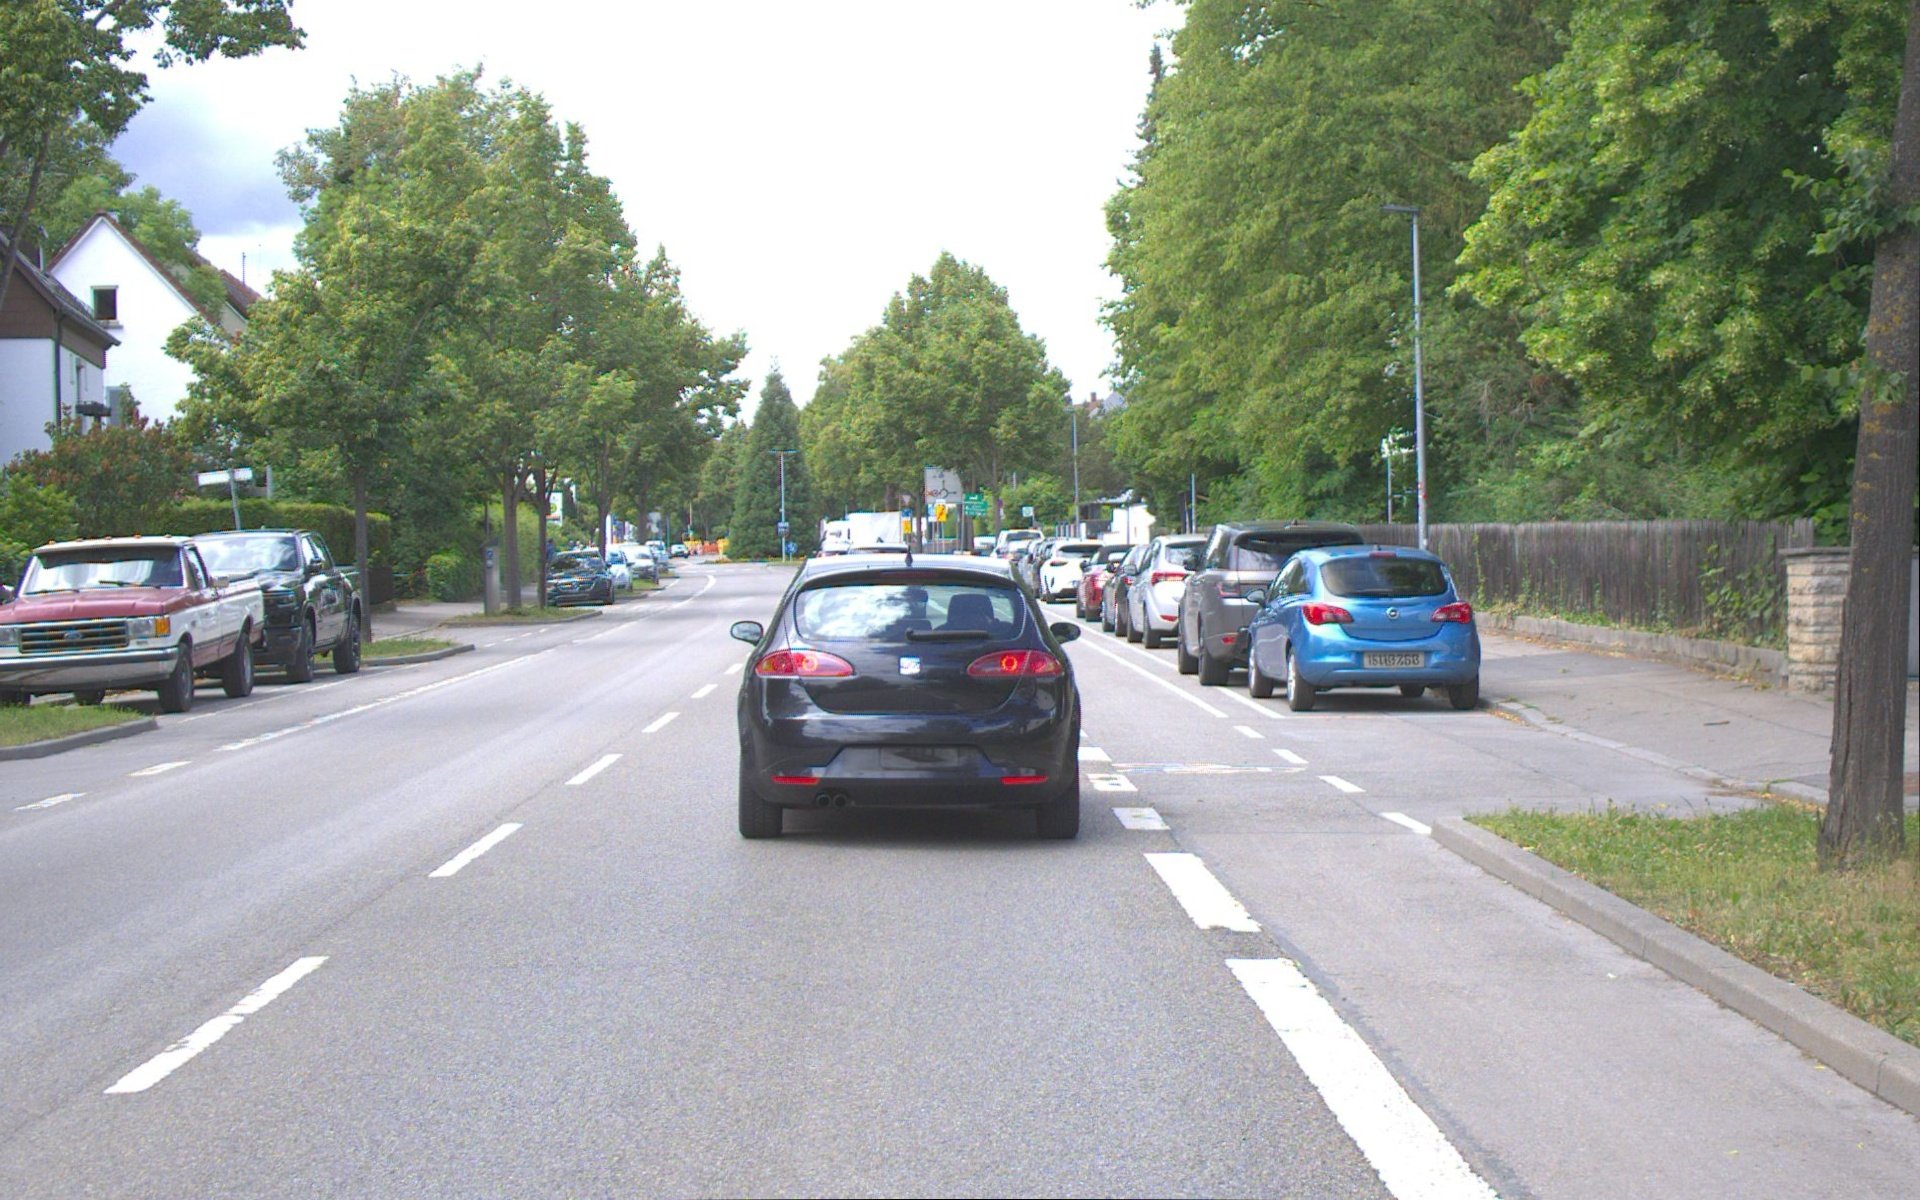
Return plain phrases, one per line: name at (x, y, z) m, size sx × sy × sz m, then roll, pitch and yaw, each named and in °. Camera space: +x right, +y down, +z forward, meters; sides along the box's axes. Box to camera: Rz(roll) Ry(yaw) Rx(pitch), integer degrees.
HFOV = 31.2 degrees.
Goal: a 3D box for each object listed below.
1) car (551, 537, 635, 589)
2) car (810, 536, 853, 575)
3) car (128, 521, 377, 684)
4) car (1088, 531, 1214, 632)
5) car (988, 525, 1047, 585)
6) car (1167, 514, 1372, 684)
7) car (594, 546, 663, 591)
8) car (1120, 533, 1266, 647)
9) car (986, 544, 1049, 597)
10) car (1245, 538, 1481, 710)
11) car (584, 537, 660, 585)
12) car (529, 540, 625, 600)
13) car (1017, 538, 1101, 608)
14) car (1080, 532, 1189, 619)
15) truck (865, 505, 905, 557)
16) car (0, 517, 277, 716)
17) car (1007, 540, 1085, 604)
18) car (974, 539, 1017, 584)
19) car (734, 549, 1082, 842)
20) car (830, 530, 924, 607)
car at (-11.388, -1.168, 106.978) m, size 2.100 × 1.501 × 5.784 m, roll -3°, pitch 1°, yaw -2°
car at (-5.674, -1.975, 152.134) m, size 1.881 × 1.683 × 4.214 m, roll -1°, pitch 1°, yaw -2°
car at (-9.053, -0.018, 44.523) m, size 2.100 × 1.890 × 5.784 m, roll -3°, pitch 1°, yaw -2°
car at (3.071, -0.329, 56.076) m, size 1.688 × 1.559 × 4.214 m, roll -1°, pitch 1°, yaw -2°
car at (1.855, -1.460, 111.458) m, size 1.688 × 1.869 × 4.214 m, roll -1°, pitch 1°, yaw -2°
car at (3.264, -0.047, 36.954) m, size 1.688 × 1.705 × 4.214 m, roll -1°, pitch 1°, yaw -2°
car at (-12.204, -1.173, 126.785) m, size 2.100 × 1.501 × 5.784 m, roll -3°, pitch 1°, yaw -2°
car at (3.314, -0.175, 49.512) m, size 1.688 × 1.559 × 4.214 m, roll -1°, pitch 1°, yaw -2°
car at (1.728, -0.909, 104.461) m, size 1.688 × 1.559 × 4.214 m, roll -1°, pitch 1°, yaw -2°
car at (3.676, 0.184, 31.851) m, size 1.688 × 1.485 × 3.355 m, roll -1°, pitch 1°, yaw -2°
car at (-11.460, -1.331, 116.955) m, size 2.100 × 1.501 × 5.784 m, roll -3°, pitch 1°, yaw -2°
car at (-10.466, -0.838, 94.281) m, size 2.100 × 1.501 × 5.784 m, roll -3°, pitch 1°, yaw -2°
car at (2.283, -0.654, 80.113) m, size 1.688 × 1.559 × 4.214 m, roll -1°, pitch 1°, yaw -2°
car at (3.239, -0.475, 64.303) m, size 1.688 × 1.559 × 4.214 m, roll -1°, pitch 1°, yaw -2°
truck at (-4.707, -4.276, 213.770) m, size 2.278 × 3.093 × 8.511 m, roll 1°, pitch 1°, yaw -2°
car at (-8.936, 0.120, 36.969) m, size 2.100 × 1.890 × 5.784 m, roll -3°, pitch 1°, yaw -2°
car at (2.121, -0.718, 85.840) m, size 1.688 × 1.559 × 4.214 m, roll -1°, pitch 1°, yaw -2°
car at (1.505, -1.655, 147.698) m, size 1.688 × 1.869 × 4.214 m, roll -1°, pitch 1°, yaw -2°
car at (-0.345, 0.437, 18.504) m, size 1.662 × 1.396 × 3.812 m, roll 1°, pitch 1°, yaw -3°
car at (-1.683, -0.647, 70.162) m, size 1.846 × 1.504 × 3.812 m, roll 1°, pitch 1°, yaw -1°
